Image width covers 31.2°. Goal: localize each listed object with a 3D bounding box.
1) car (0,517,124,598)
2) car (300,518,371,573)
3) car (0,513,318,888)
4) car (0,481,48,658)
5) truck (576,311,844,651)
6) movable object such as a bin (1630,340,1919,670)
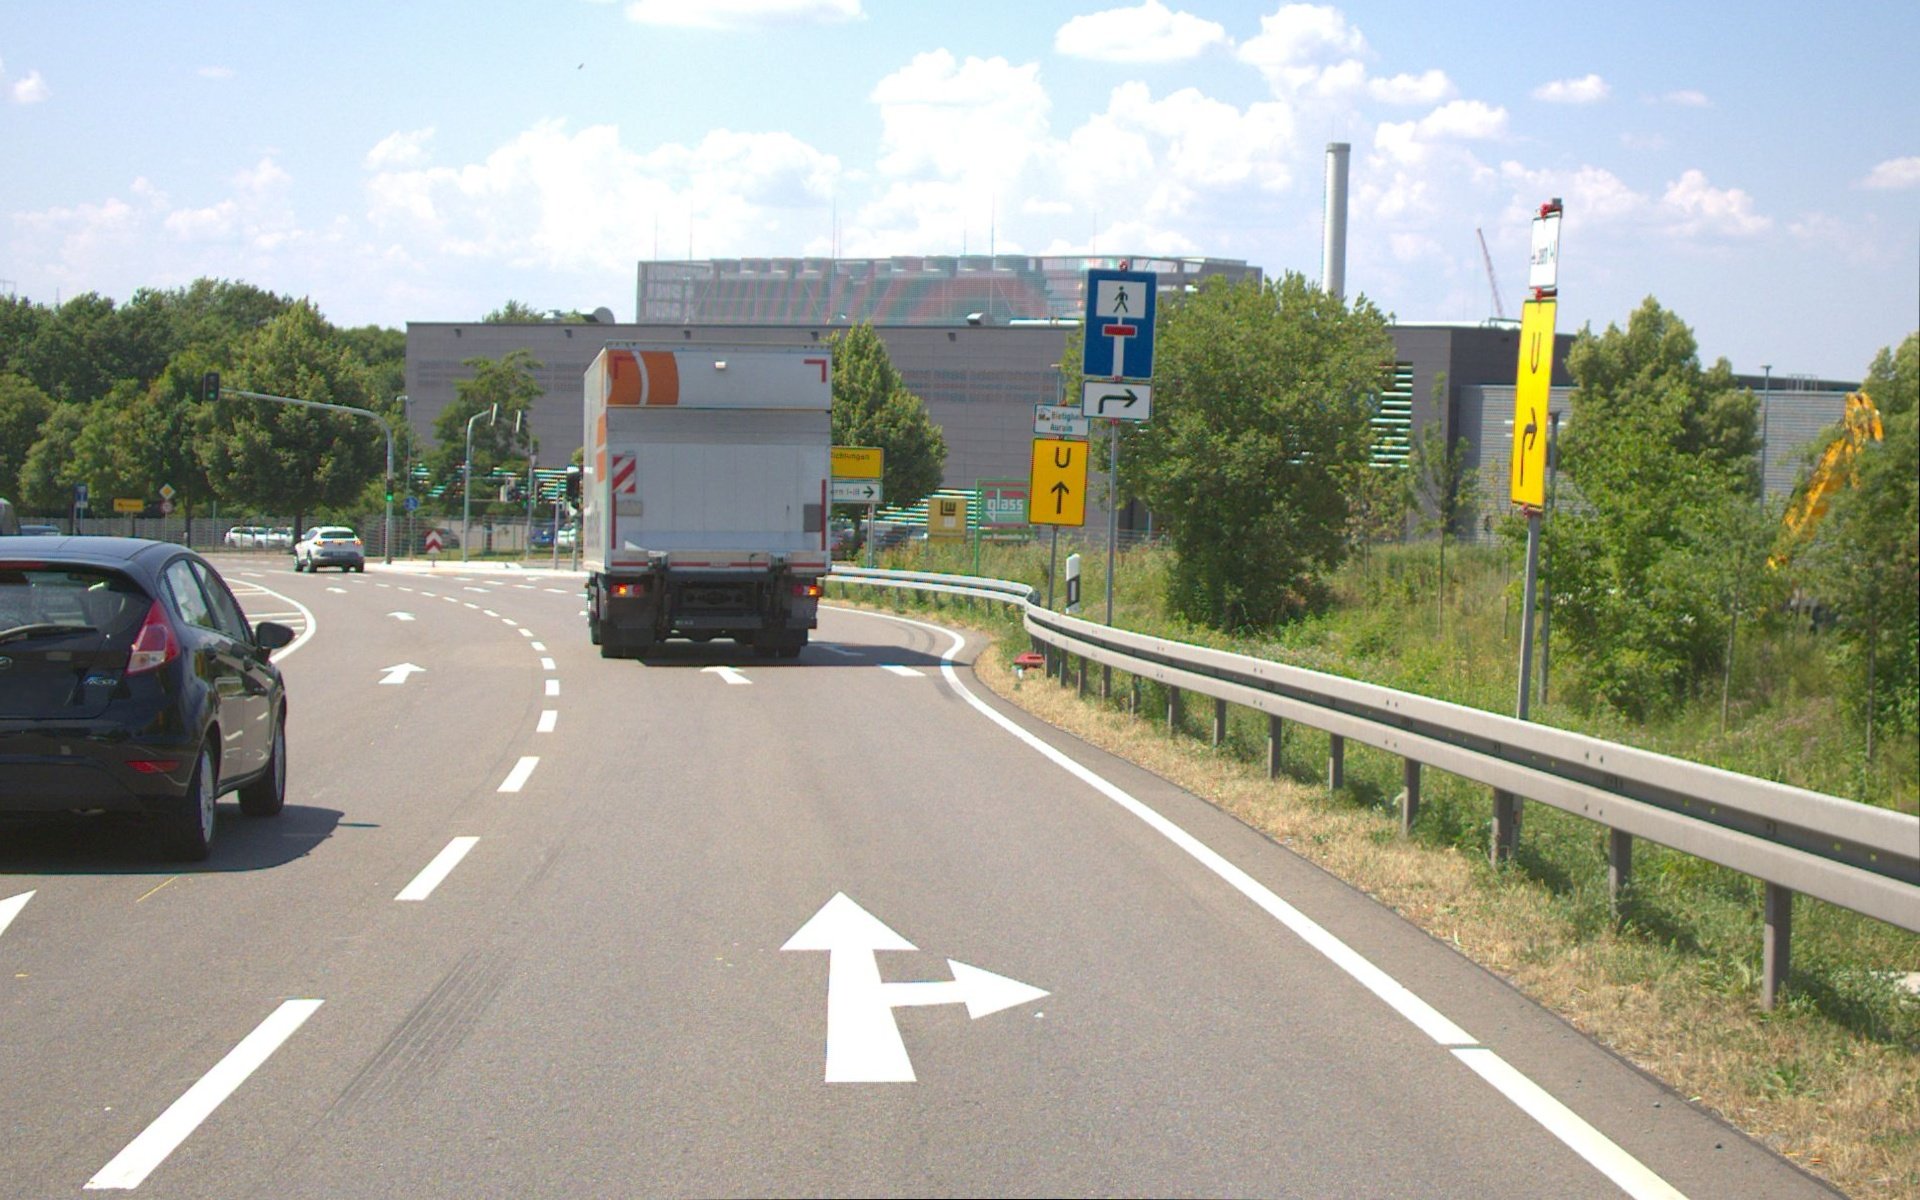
[{"bbox_3d":[-16.751,-0.819,63.952,1.816,1.437,4.645,0,1,-7],"label":"car"},{"bbox_3d":[-20.793,-1.820,114.327,1.943,1.658,4.002,3,1,-14],"label":"car"},{"bbox_3d":[-4.255,0.382,16.845,1.653,1.488,4.209,1,3,-3],"label":"car"},{"bbox_3d":[-11.412,-0.360,37.844,1.993,1.888,5.105,0,2,-7],"label":"car"},{"bbox_3d":[-3.255,-1.474,42.448,2.803,3.698,9.110,1,2,-7],"label":"truck"},{"bbox_3d":[15.126,-1.806,59.912,3.423,5.242,9.233,2,4,-10],"label":"movable object such as a bin"}]
